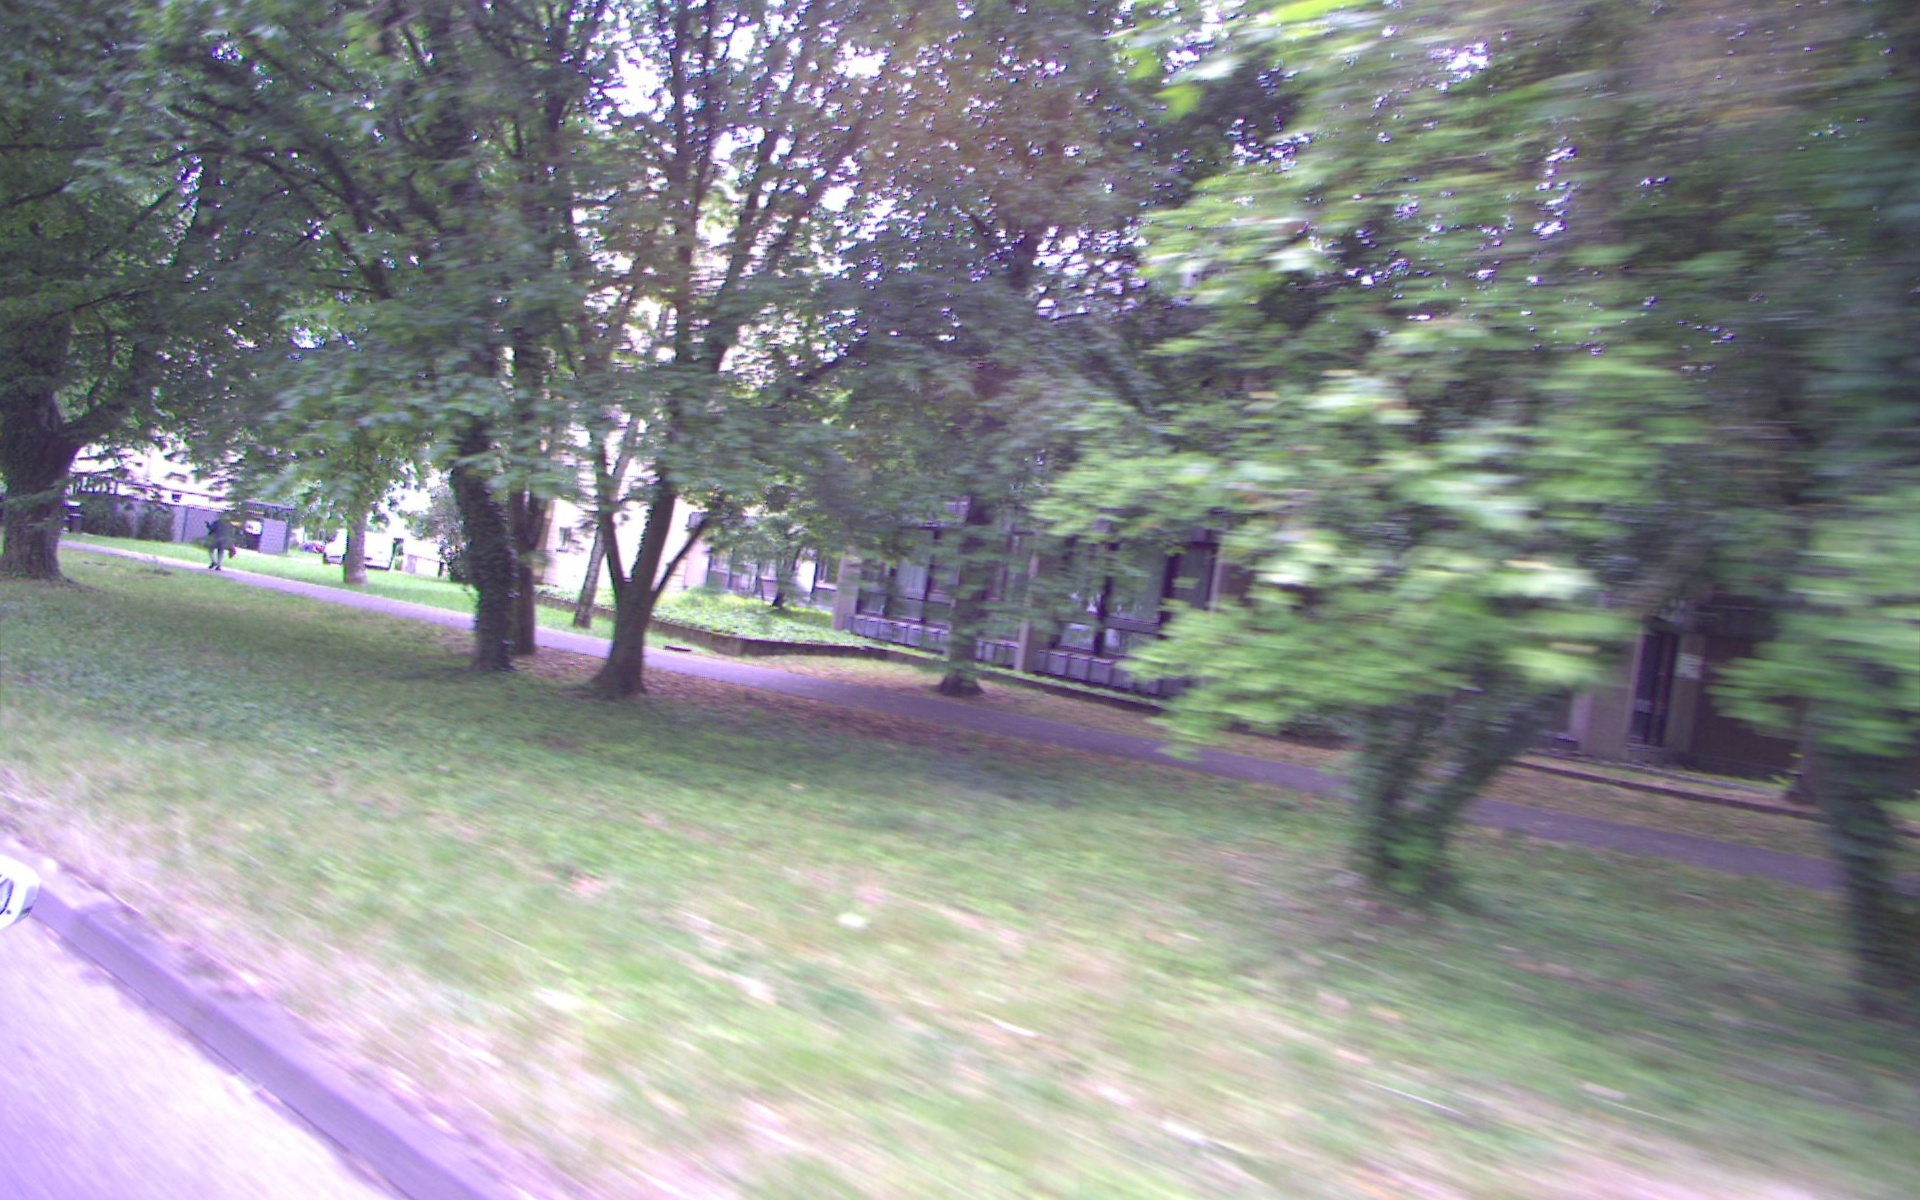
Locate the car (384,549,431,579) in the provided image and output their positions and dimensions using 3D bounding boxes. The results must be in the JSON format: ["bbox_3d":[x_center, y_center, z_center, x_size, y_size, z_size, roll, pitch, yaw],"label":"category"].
[{"bbox_3d":[-33.513,-2.220,61.001,1.785,1.529,3.958,6,-1,-39],"label":"car"}]

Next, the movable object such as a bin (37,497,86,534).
[{"bbox_3d":[-43.887,-4.121,49.148,1.292,1.520,1.328,7,0,30],"label":"movable object such as a bin"}]

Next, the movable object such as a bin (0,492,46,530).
[{"bbox_3d":[-44.632,-4.227,47.814,1.292,1.520,1.328,7,0,30],"label":"movable object such as a bin"}]

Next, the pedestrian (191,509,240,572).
[{"bbox_3d":[-22.048,-1.753,29.794,0.801,1.707,0.768,7,0,32],"label":"pedestrian"}]

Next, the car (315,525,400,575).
[{"bbox_3d":[-29.908,-2.484,49.872,4.897,1.866,2.083,8,1,42],"label":"car"}]
